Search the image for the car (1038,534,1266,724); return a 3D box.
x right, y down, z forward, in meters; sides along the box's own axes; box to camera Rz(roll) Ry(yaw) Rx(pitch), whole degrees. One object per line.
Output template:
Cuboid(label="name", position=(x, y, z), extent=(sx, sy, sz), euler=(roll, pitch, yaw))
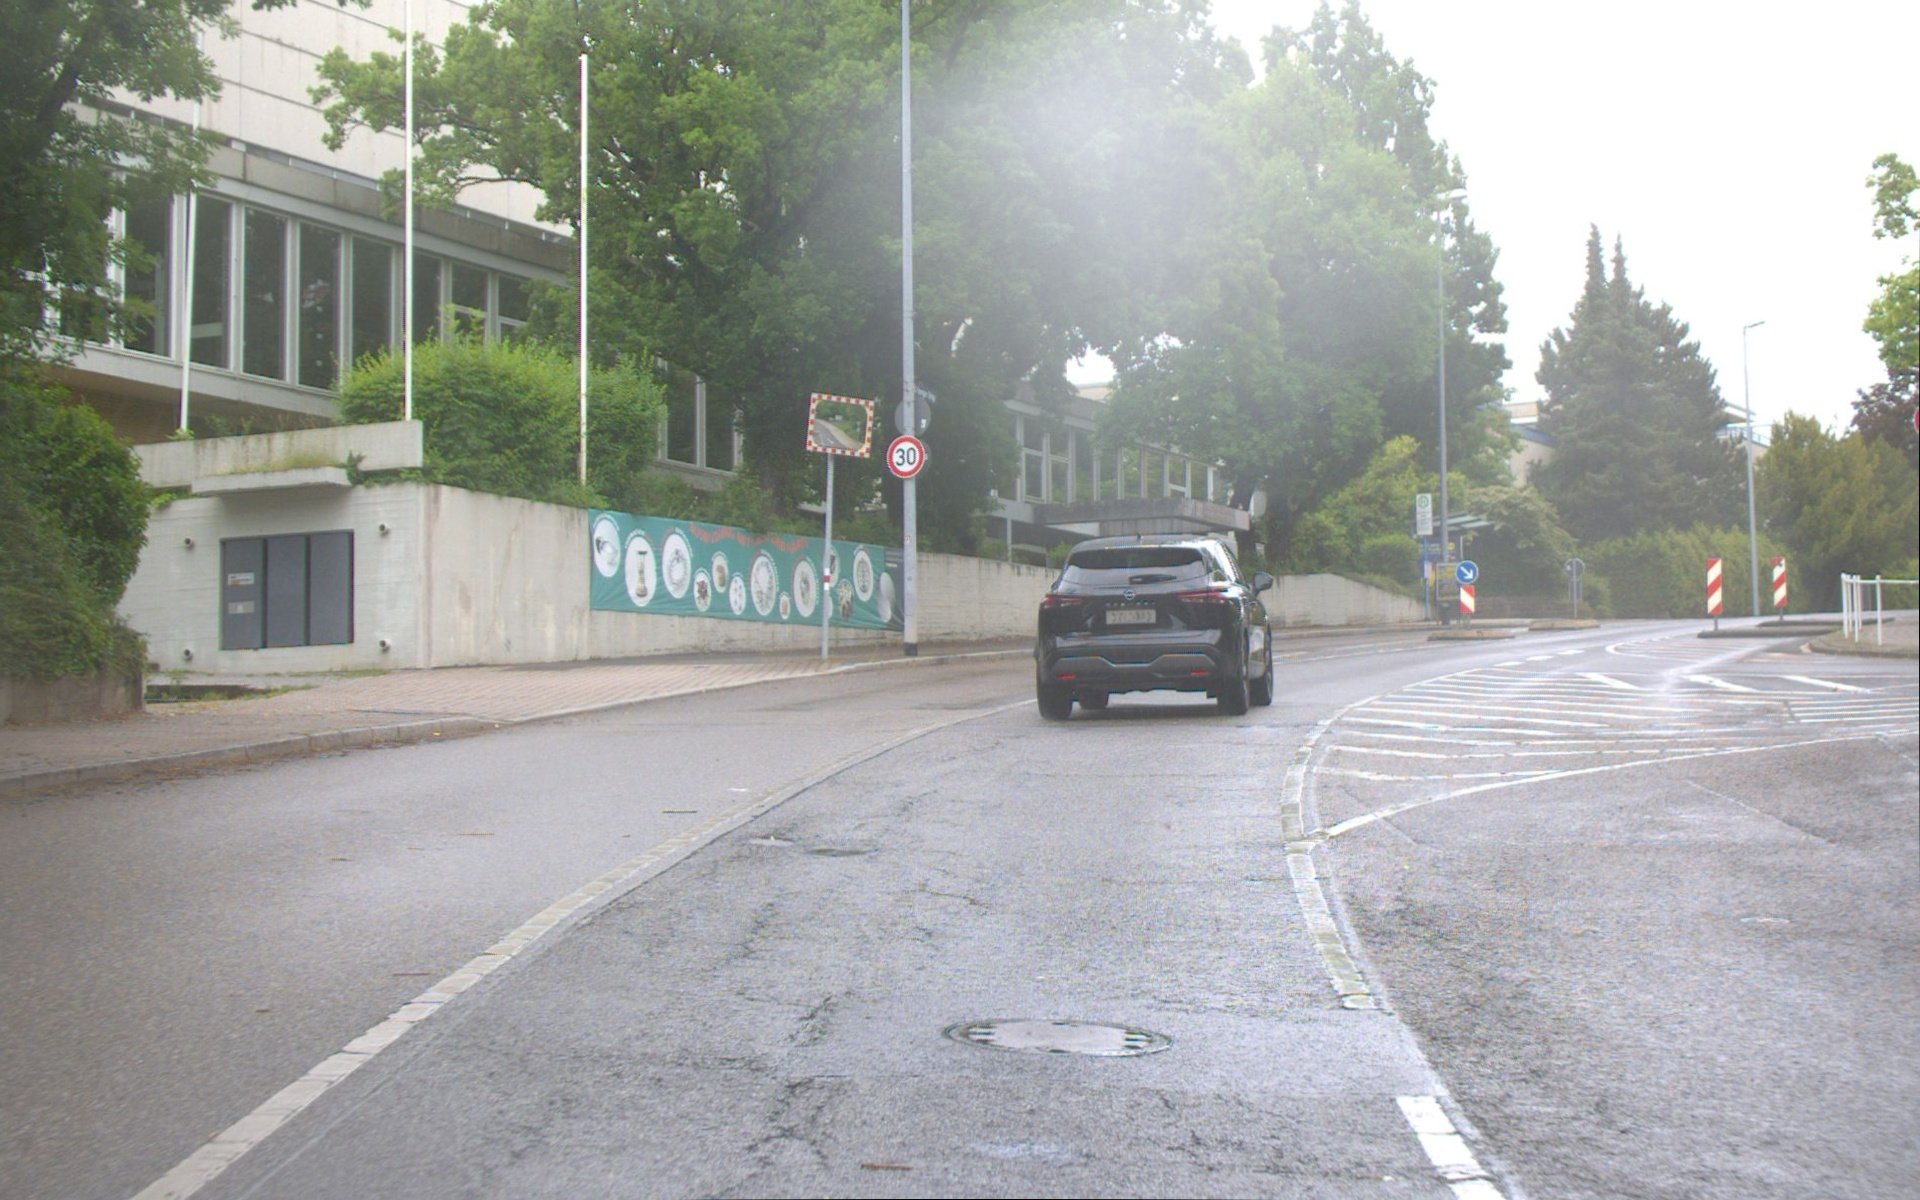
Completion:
Cuboid(label="car", position=(1.781, 0.209, 31.145), extent=(1.928, 1.607, 3.999), euler=(0, 1, 5))
